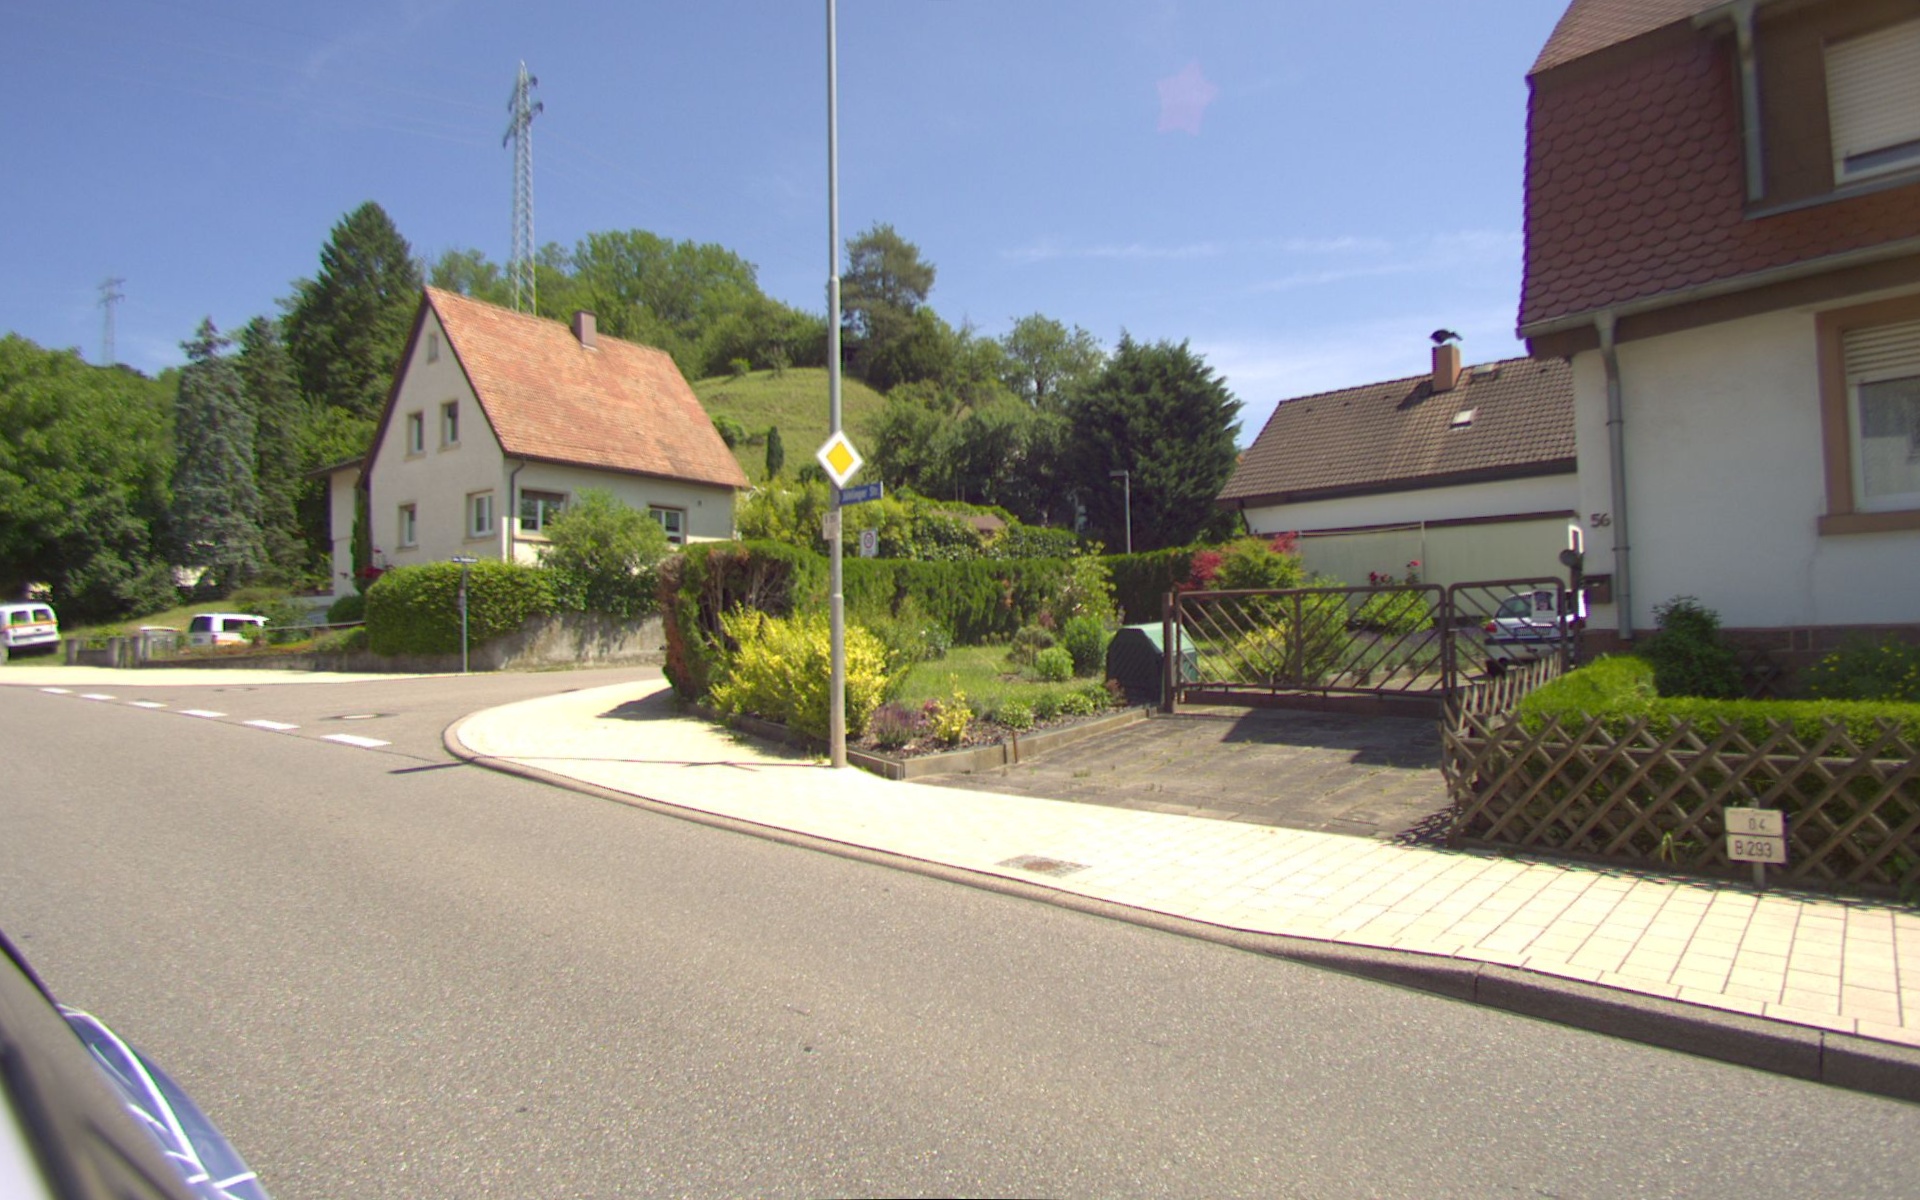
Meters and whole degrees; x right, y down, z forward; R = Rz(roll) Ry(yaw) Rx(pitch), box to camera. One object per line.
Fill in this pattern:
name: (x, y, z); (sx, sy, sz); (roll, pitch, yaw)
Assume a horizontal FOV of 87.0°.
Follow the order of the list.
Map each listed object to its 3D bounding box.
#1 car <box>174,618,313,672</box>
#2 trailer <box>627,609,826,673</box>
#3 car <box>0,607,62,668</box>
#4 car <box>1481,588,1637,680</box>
car: (-26.937, 1.725, 38.193); (1.798, 1.803, 3.972); (-5, -5, 20)
trailer: (-6.354, 1.077, 27.904); (5.002, 1.516, 2.002); (-1, -1, -43)
car: (-33.319, 1.296, 35.170); (3.977, 1.963, 1.690); (-1, 1, 25)
car: (10.407, 0.572, 17.475); (1.579, 1.403, 3.749); (-5, -4, 41)
